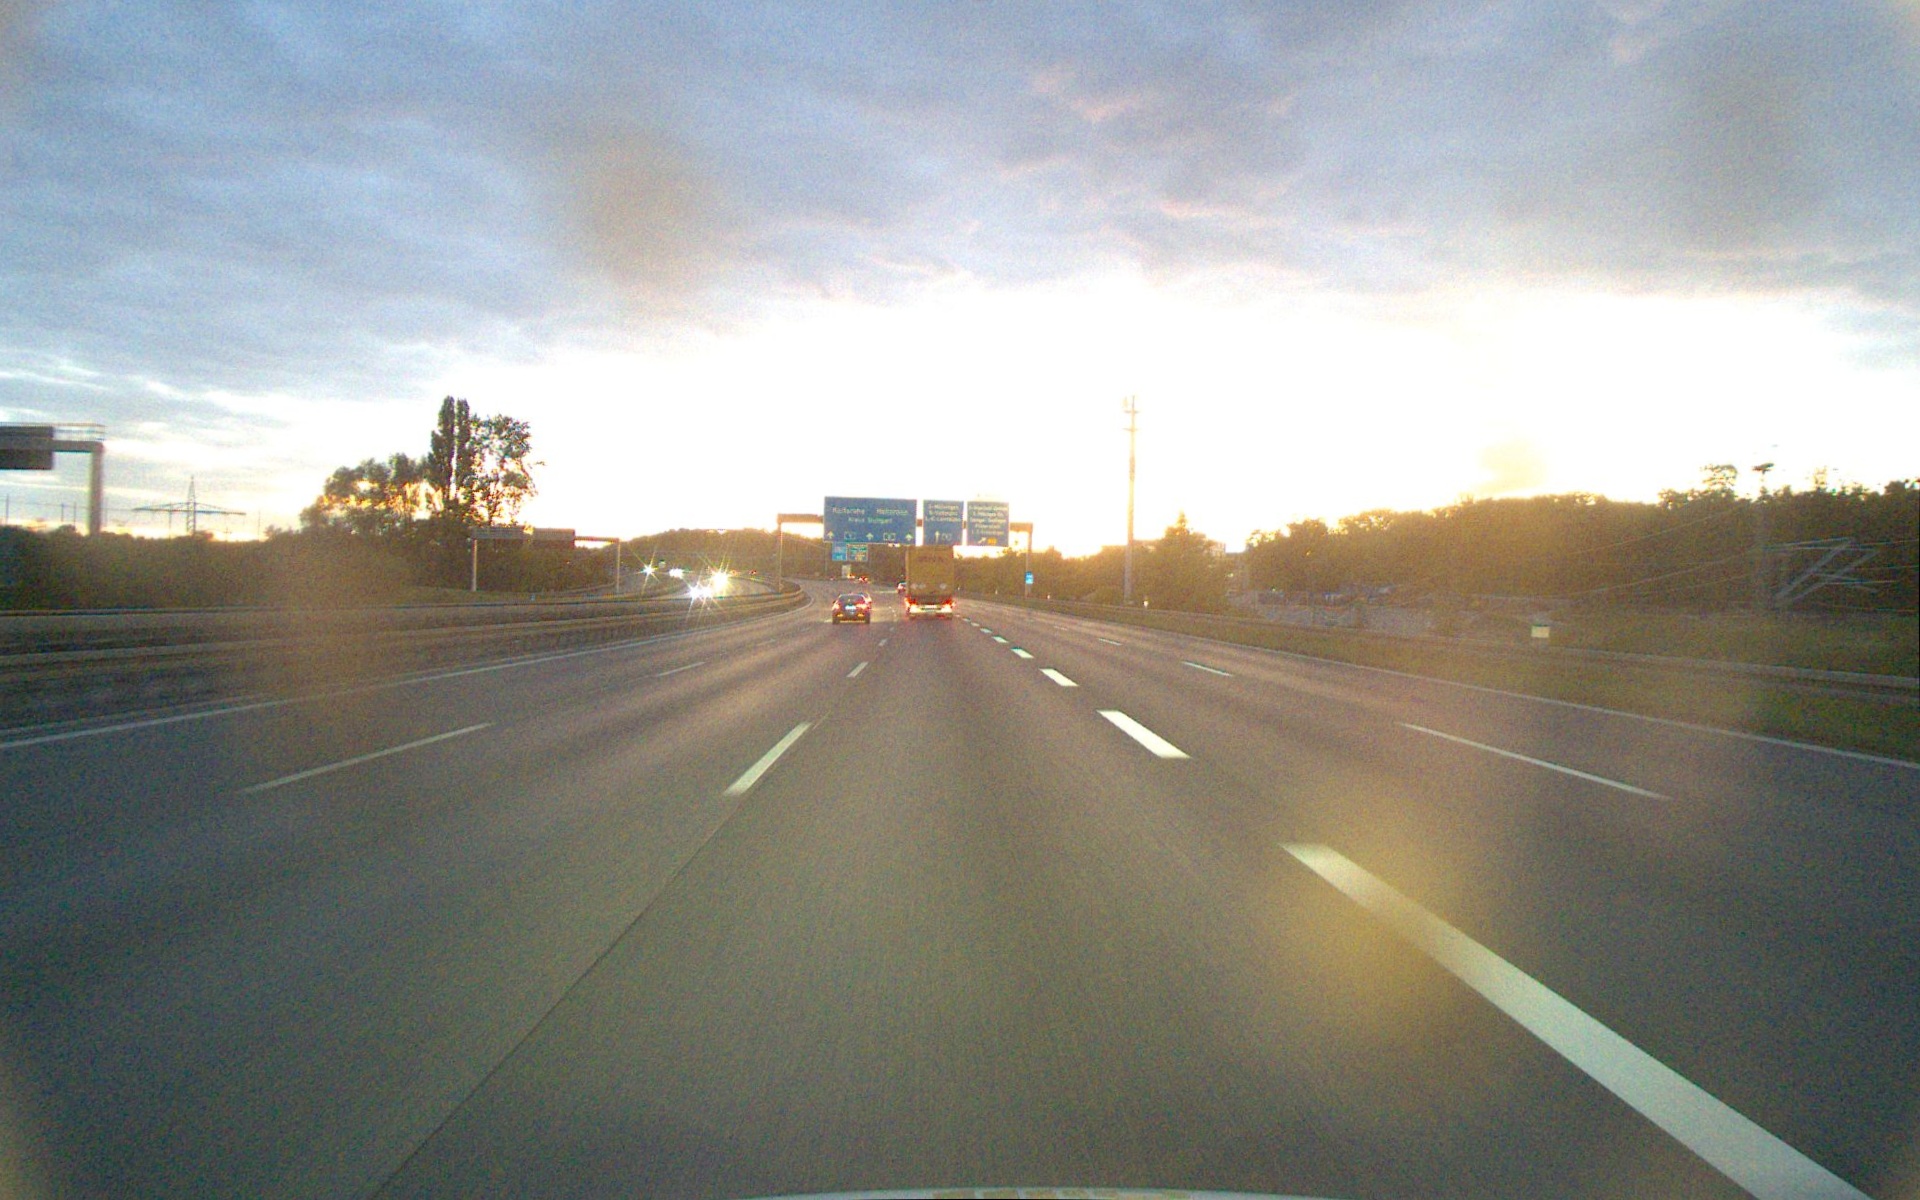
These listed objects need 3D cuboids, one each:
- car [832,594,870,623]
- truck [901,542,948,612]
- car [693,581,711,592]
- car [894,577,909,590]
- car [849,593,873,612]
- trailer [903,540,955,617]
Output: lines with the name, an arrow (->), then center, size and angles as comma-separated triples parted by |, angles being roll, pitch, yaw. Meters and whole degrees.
car -> -5.409, 0.417, 81.871 | 1.657, 1.426, 3.403 | 0, 0, -7
truck -> -2.297, -1.499, 103.653 | 2.636, 4.142, 10.516 | 0, 1, -3
car -> -34.369, -1.765, 220.188 | 1.954, 1.428, 4.326 | 1, 0, -4
car -> -8.644, -2.454, 243.351 | 1.955, 1.747, 3.994 | 0, -1, -7
car -> -7.403, 0.207, 124.032 | 1.655, 1.426, 3.408 | -1, -1, -1
trailer -> -1.826, -1.272, 94.006 | 2.667, 4.142, 8.827 | 0, 1, -3
